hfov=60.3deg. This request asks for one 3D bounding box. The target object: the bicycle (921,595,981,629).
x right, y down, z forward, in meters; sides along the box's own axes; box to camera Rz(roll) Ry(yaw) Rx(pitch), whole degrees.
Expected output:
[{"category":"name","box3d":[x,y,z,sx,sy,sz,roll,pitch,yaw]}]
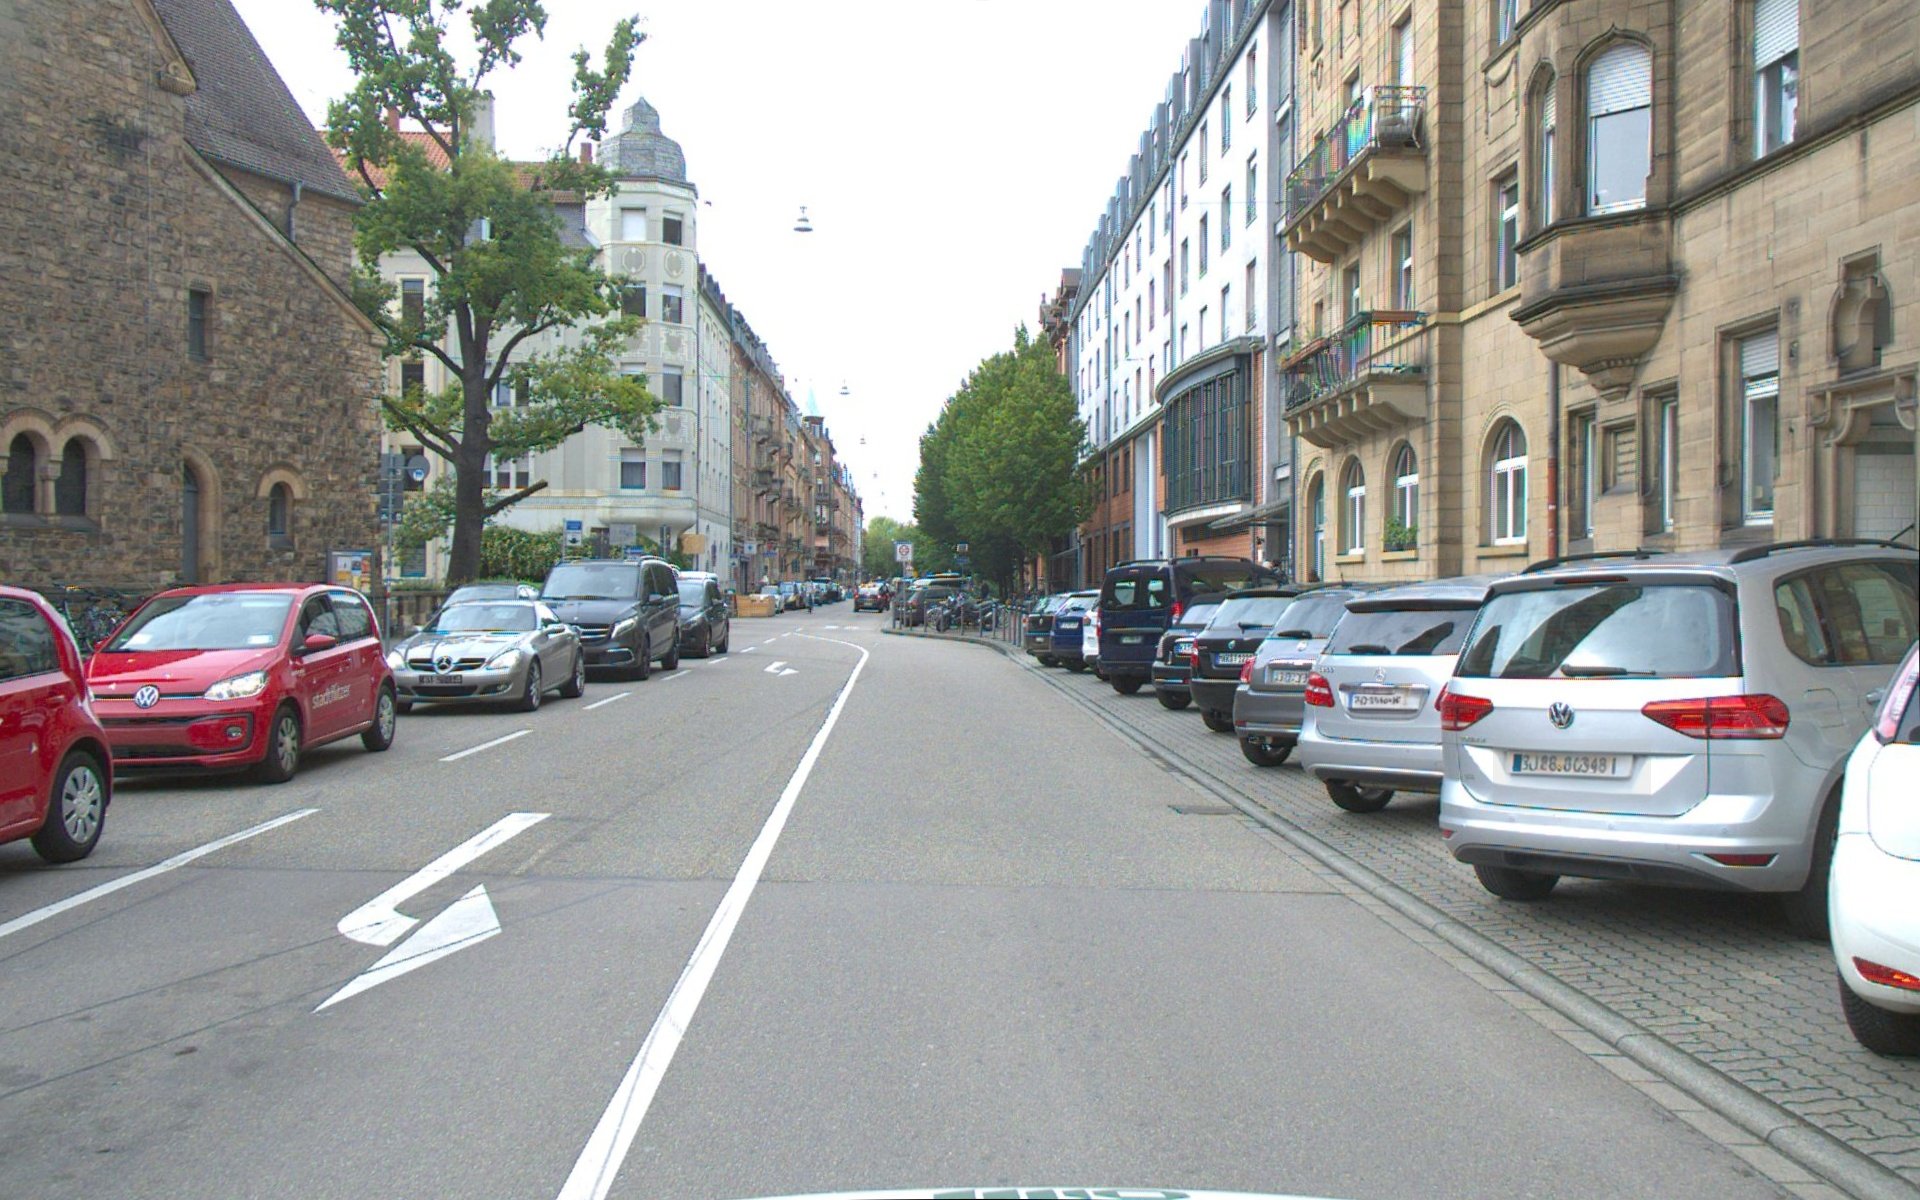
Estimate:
[{"category":"bicycle","box3d":[-0.291,0.405,54.143,1.891,1.061,0.611,-1,-1,-5]}]

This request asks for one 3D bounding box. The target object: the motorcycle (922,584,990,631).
[{"category":"motorcycle","box3d":[-0.133,0.240,52.261,2.092,1.454,0.770,-1,-1,-5]}]

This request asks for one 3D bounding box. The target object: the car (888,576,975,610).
[{"category":"car","box3d":[-1.751,-0.441,103.806,5.344,2.027,1.925,-1,0,-36]}]

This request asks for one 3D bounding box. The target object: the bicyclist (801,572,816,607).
[{"category":"bicyclist","box3d":[-8.288,-0.569,90.646,0.766,1.899,0.714,0,0,0]}]

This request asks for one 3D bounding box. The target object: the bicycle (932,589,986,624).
[{"category":"bicycle","box3d":[-0.038,0.233,57.898,1.847,1.161,0.611,-1,-1,-5]}]

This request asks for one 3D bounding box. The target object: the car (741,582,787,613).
[{"category":"car","box3d":[-10.307,-0.123,87.162,1.904,1.580,3.817,-1,0,1]}]

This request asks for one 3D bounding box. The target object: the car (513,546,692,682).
[{"category":"car","box3d":[-5.689,0.176,26.980,1.873,1.988,5.282,0,1,-1]}]

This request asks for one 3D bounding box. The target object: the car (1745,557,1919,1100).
[{"category":"car","box3d":[4.349,0.569,5.653,3.561,1.534,1.820,-4,1,-44]}]

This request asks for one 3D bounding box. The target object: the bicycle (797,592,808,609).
[{"category":"bicycle","box3d":[-9.078,0.040,95.267,0.524,0.994,1.864,0,-1,-3]}]

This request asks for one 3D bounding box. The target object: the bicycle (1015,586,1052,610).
[{"category":"bicycle","box3d":[3.445,-0.082,77.790,1.717,1.111,0.565,0,-1,-3]}]

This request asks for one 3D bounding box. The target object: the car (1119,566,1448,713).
[{"category":"car","box3d":[4.169,0.451,21.009,4.036,1.478,2.002,-5,2,-41]}]

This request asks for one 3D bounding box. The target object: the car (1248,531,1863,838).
[{"category":"car","box3d":[4.365,0.451,11.752,4.705,1.714,1.910,-3,0,-39]}]

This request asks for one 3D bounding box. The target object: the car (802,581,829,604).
[{"category":"car","box3d":[-11.514,-0.626,131.785,1.905,1.772,3.941,1,0,-2]}]

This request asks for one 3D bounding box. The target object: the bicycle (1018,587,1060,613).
[{"category":"bicycle","box3d":[3.451,0.022,72.120,1.799,1.111,0.542,0,-1,-3]}]

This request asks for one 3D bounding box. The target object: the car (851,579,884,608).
[{"category":"car","box3d":[-5.674,-0.363,101.689,1.954,1.710,3.997,0,-1,-3]}]

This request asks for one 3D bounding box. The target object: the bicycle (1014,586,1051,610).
[{"category":"bicycle","box3d":[3.440,-0.073,78.536,1.717,1.111,0.565,0,-1,-3]}]

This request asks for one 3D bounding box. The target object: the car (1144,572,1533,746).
[{"category":"car","box3d":[4.146,0.540,17.740,4.425,1.579,1.824,-2,1,-41]}]

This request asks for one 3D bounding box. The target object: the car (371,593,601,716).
[{"category":"car","box3d":[-5.695,0.604,20.369,1.670,1.309,4.041,-2,0,-1]}]

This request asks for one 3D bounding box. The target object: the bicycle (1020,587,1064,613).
[{"category":"bicycle","box3d":[3.535,0.018,71.314,1.857,1.111,0.542,0,-1,-3]}]

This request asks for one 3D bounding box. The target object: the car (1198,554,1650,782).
[{"category":"car","box3d":[4.250,0.484,14.759,4.426,1.601,1.721,-4,2,-41]}]

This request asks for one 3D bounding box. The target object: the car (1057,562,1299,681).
[{"category":"car","box3d":[3.606,0.301,26.971,3.967,1.629,1.738,-4,3,-42]}]

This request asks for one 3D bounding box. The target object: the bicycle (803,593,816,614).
[{"category":"bicycle","box3d":[-8.237,0.180,90.467,0.556,1.106,1.986,0,1,0]}]

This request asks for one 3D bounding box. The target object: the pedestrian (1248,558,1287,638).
[{"category":"pedestrian","box3d":[6.068,-0.033,32.647,0.558,1.556,0.545,1,-1,-44]}]

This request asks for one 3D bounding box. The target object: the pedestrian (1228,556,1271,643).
[{"category":"pedestrian","box3d":[6.115,-0.013,34.929,0.617,1.784,0.810,-3,1,-5]}]

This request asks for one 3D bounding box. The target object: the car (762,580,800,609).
[{"category":"car","box3d":[-10.621,-0.349,98.244,1.905,1.645,3.941,1,0,-2]}]

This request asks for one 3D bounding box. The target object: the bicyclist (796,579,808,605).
[{"category":"bicyclist","box3d":[-9.077,-0.457,95.250,0.655,1.423,0.783,0,-1,-5]}]

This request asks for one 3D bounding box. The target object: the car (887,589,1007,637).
[{"category":"car","box3d":[-0.473,0.485,62.191,4.239,1.606,1.840,-3,1,-36]}]

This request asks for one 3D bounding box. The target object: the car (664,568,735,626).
[{"category":"car","box3d":[-9.346,-0.132,59.598,1.805,1.973,4.548,1,1,0]}]

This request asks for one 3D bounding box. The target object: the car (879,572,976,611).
[{"category":"car","box3d":[-1.846,-0.490,95.601,5.563,2.164,1.925,-1,0,-36]}]

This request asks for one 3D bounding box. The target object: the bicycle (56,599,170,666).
[{"category":"bicycle","box3d":[-14.965,0.561,29.237,1.740,1.150,0.662,0,0,11]}]

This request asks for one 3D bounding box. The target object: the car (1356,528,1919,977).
[{"category":"car","box3d":[4.131,0.543,8.335,4.179,1.712,1.891,-2,0,-36]}]

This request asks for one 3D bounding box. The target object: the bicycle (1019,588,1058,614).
[{"category":"bicycle","box3d":[3.484,0.045,73.546,1.717,1.111,0.565,0,-1,-3]}]

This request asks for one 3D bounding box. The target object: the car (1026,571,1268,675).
[{"category":"car","box3d":[3.369,0.363,29.673,3.948,1.560,1.912,-4,2,-32]}]

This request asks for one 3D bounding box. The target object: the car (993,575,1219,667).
[{"category":"car","box3d":[2.902,0.366,32.711,4.196,1.504,1.670,-4,2,-27]}]

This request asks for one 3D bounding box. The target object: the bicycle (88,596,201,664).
[{"category":"bicycle","box3d":[-14.807,0.534,30.031,1.740,1.187,0.742,0,0,11]}]

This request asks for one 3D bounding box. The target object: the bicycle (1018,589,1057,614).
[{"category":"bicycle","box3d":[3.490,0.053,74.330,1.717,1.111,0.565,0,-1,-3]}]

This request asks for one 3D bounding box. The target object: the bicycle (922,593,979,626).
[{"category":"bicycle","box3d":[-0.317,0.313,55.638,1.847,1.061,0.611,-1,-1,-5]}]

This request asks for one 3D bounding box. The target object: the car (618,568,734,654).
[{"category":"car","box3d":[-6.014,0.194,35.466,1.807,1.713,4.547,0,1,-2]}]

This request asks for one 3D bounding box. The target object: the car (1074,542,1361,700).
[{"category":"car","box3d":[3.787,0.227,23.842,4.250,1.939,1.850,-4,3,-44]}]

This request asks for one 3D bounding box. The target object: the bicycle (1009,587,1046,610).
[{"category":"bicycle","box3d":[3.237,-0.064,79.294,1.717,1.111,0.565,0,-1,-3]}]

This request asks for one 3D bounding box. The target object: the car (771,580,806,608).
[{"category":"car","box3d":[-10.748,-0.379,103.715,1.905,1.645,3.941,1,0,-2]}]

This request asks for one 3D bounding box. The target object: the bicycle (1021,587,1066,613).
[{"category":"bicycle","box3d":[3.562,0.009,70.709,1.894,1.111,0.576,0,-1,-3]}]

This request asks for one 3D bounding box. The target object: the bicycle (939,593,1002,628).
[{"category":"bicycle","box3d":[0.325,0.337,53.384,1.970,1.081,0.611,-1,-1,-5]}]

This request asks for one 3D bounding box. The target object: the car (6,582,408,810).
[{"category":"car","box3d":[-5.703,0.648,13.037,1.570,1.482,3.716,-2,0,-3]}]

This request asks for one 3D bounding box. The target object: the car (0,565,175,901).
[{"category":"car","box3d":[-5.271,0.647,7.467,1.616,1.554,3.893,-2,1,-2]}]
